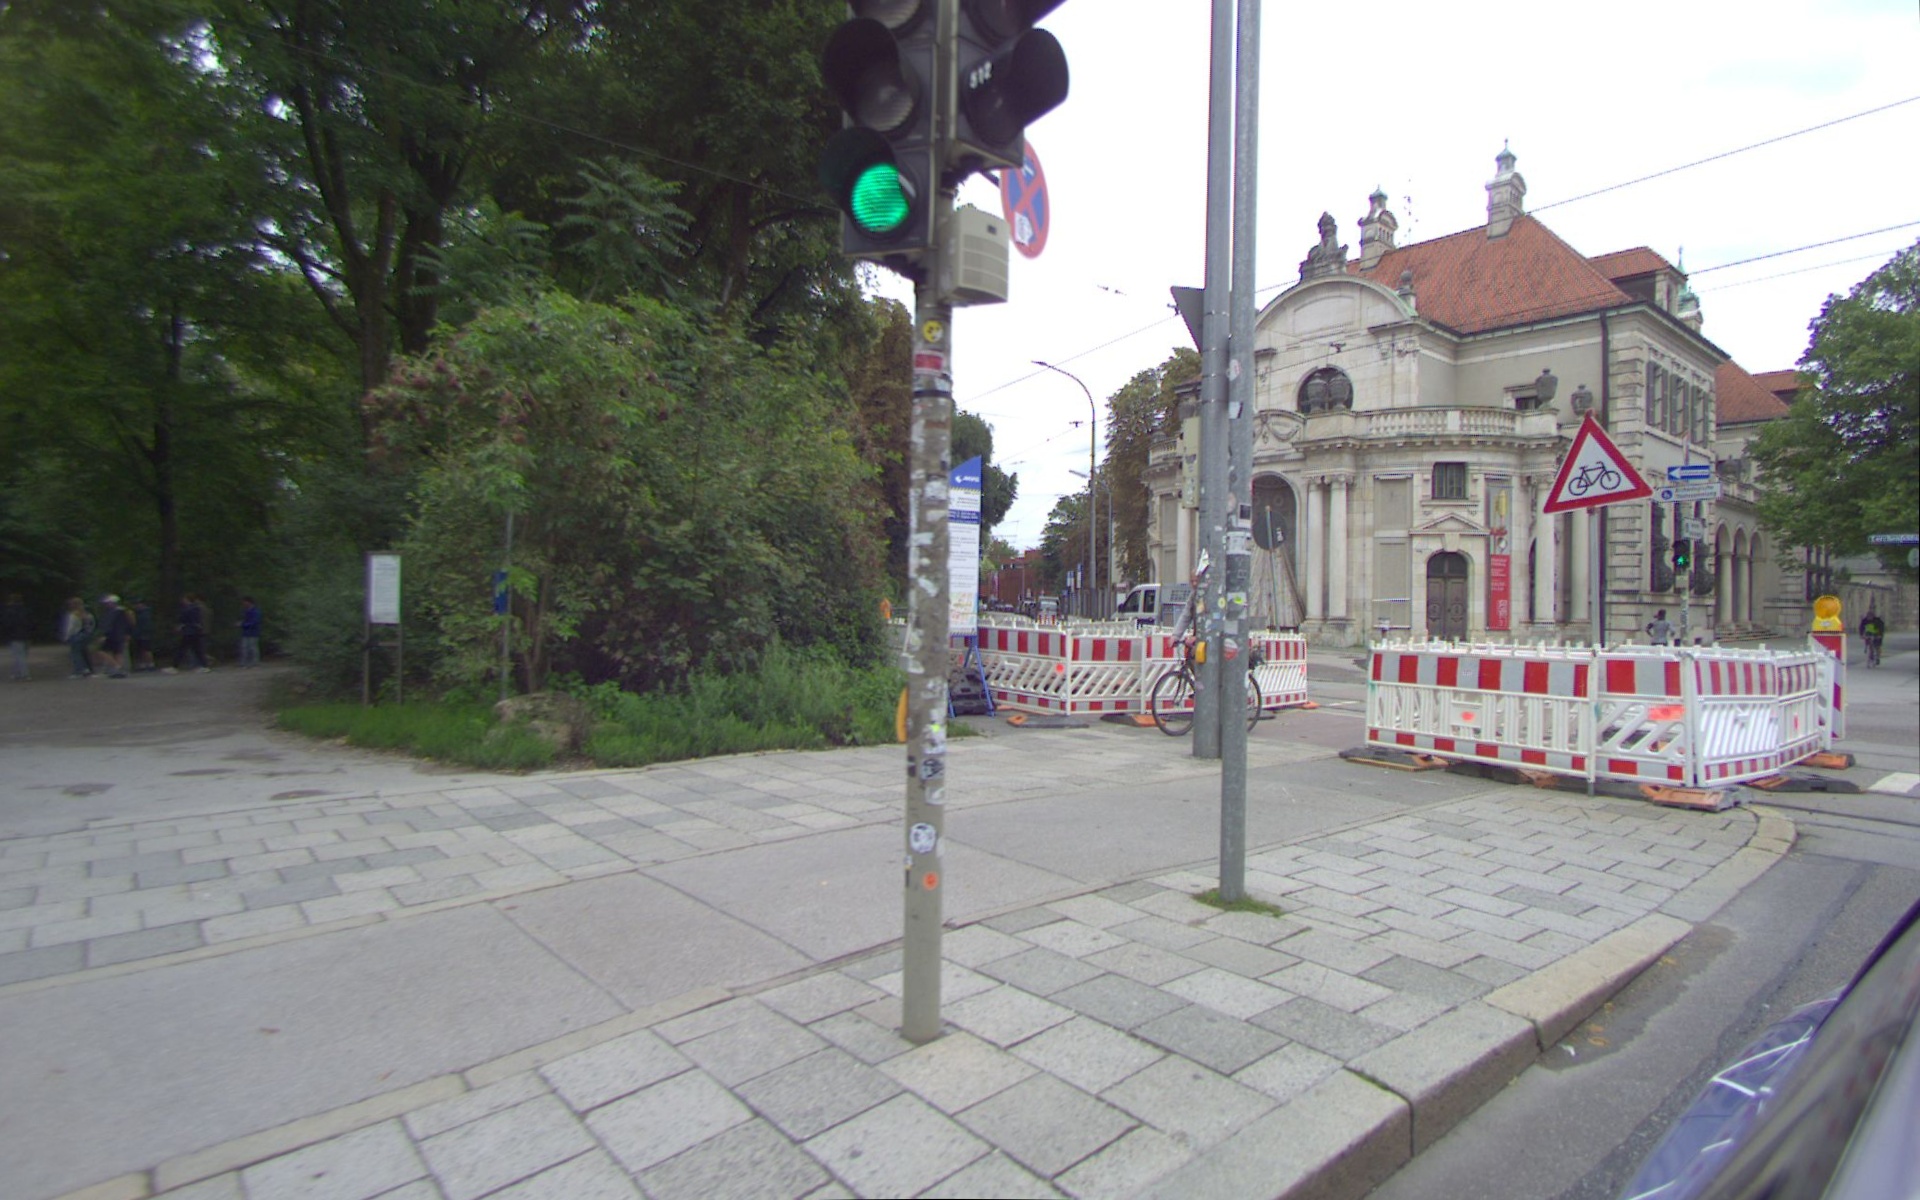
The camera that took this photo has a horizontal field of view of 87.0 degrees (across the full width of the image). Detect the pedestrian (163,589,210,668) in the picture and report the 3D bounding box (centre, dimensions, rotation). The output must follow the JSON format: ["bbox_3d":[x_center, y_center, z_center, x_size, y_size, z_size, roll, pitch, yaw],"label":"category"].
[{"bbox_3d":[-17.726,0.644,23.186,0.802,1.794,0.534,1,-1,-40],"label":"pedestrian"}]

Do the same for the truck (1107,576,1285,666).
[{"bbox_3d":[7.225,0.654,31.787,2.247,2.526,5.945,1,-1,-25],"label":"truck"}]

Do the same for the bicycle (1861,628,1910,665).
[{"bbox_3d":[27.289,1.358,29.827,2.022,1.020,0.829,1,-2,-41],"label":"bicycle"}]

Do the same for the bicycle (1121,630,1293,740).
[{"bbox_3d":[2.741,0.879,11.084,2.125,1.071,0.739,1,-2,-41],"label":"bicycle"}]

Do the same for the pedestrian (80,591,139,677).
[{"bbox_3d":[-18.189,0.723,21.652,0.621,1.794,0.731,0,-1,17],"label":"pedestrian"}]

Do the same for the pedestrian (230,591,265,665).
[{"bbox_3d":[-17.414,0.676,24.739,0.637,1.794,0.444,1,-1,-40],"label":"pedestrian"}]

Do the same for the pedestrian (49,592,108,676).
[{"bbox_3d":[-19.226,0.730,22.076,0.621,1.794,0.731,0,-1,17],"label":"pedestrian"}]

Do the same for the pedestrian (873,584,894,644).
[{"bbox_3d":[-2.744,0.497,36.176,0.551,2.136,0.689,1,-2,-21],"label":"pedestrian"}]

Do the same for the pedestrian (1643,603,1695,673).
[{"bbox_3d":[18.581,0.988,26.549,1.060,1.787,0.764,-1,-2,35],"label":"pedestrian"}]

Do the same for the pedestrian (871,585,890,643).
[{"bbox_3d":[-2.923,0.517,37.209,0.551,2.136,0.689,1,-2,-19],"label":"pedestrian"}]

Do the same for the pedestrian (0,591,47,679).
[{"bbox_3d":[-19.624,0.709,21.019,0.621,1.794,0.731,0,-1,17],"label":"pedestrian"}]

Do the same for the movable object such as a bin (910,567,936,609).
[{"bbox_3d":[-2.222,-0.656,59.652,1.294,2.343,3.777,0,-1,-6],"label":"movable object such as a bin"}]

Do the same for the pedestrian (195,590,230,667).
[{"bbox_3d":[-17.740,0.660,24.011,0.618,1.794,0.534,1,-1,-40],"label":"pedestrian"}]

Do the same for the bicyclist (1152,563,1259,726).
[{"bbox_3d":[2.692,0.470,11.101,0.883,1.688,0.758,1,-2,-40],"label":"bicyclist"}]

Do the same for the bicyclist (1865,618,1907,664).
[{"bbox_3d":[27.270,1.193,29.803,0.878,1.330,0.807,1,-2,-41],"label":"bicyclist"}]
